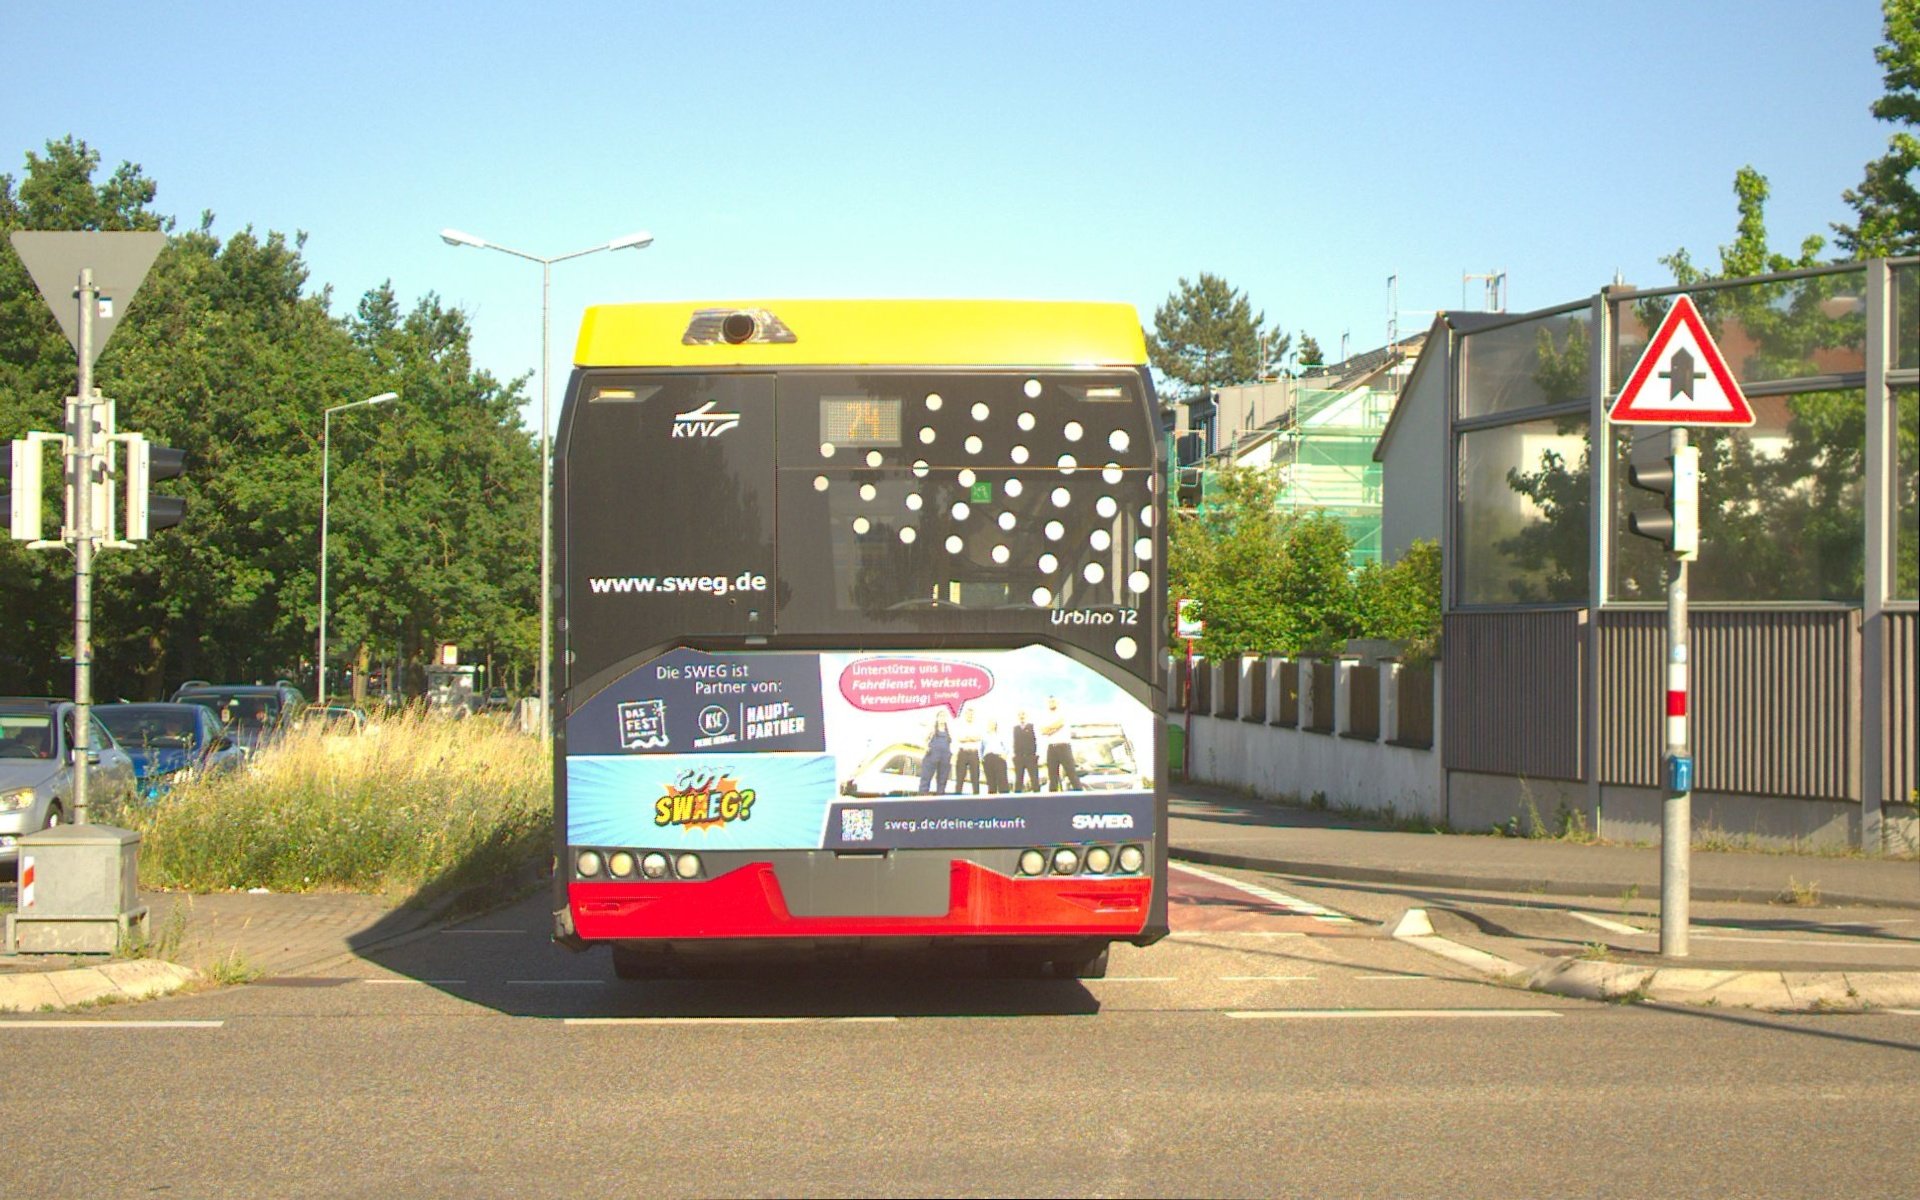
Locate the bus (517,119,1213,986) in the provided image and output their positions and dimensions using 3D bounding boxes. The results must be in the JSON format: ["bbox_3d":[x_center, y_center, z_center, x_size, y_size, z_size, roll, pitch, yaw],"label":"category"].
[{"bbox_3d":[-0.559,0.016,19.879,2.757,3.447,12.397,0,-2,-2],"label":"bus"}]

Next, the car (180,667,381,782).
[{"bbox_3d":[-8.944,1.626,45.574,1.993,1.446,4.399,0,-1,-3],"label":"car"}]

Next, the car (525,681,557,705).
[{"bbox_3d":[-27.506,6.099,225.462,1.933,1.537,4.001,1,-2,-9],"label":"car"}]

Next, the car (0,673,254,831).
[{"bbox_3d":[-8.286,1.479,34.478,1.746,1.478,3.888,0,-1,-2],"label":"car"}]

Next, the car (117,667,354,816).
[{"bbox_3d":[-8.326,1.591,39.872,1.993,1.611,4.530,0,-1,-3],"label":"car"}]

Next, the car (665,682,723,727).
[{"bbox_3d":[-10.506,4.099,135.512,1.935,1.698,4.001,1,-2,-9],"label":"car"}]

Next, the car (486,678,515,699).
[{"bbox_3d":[-33.494,6.438,250.395,1.933,1.449,4.001,1,-2,-10],"label":"car"}]

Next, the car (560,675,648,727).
[{"bbox_3d":[-10.174,2.871,98.529,1.710,1.426,3.999,-1,-1,6],"label":"car"}]

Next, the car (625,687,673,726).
[{"bbox_3d":[-14.228,4.848,157.084,1.933,1.736,4.001,1,-2,-9],"label":"car"}]

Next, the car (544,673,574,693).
[{"bbox_3d":[-29.340,6.085,251.573,1.933,1.449,4.001,1,-2,-10],"label":"car"}]

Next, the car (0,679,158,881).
[{"bbox_3d":[-7.939,1.413,28.244,1.793,1.501,4.530,0,-1,-2],"label":"car"}]
